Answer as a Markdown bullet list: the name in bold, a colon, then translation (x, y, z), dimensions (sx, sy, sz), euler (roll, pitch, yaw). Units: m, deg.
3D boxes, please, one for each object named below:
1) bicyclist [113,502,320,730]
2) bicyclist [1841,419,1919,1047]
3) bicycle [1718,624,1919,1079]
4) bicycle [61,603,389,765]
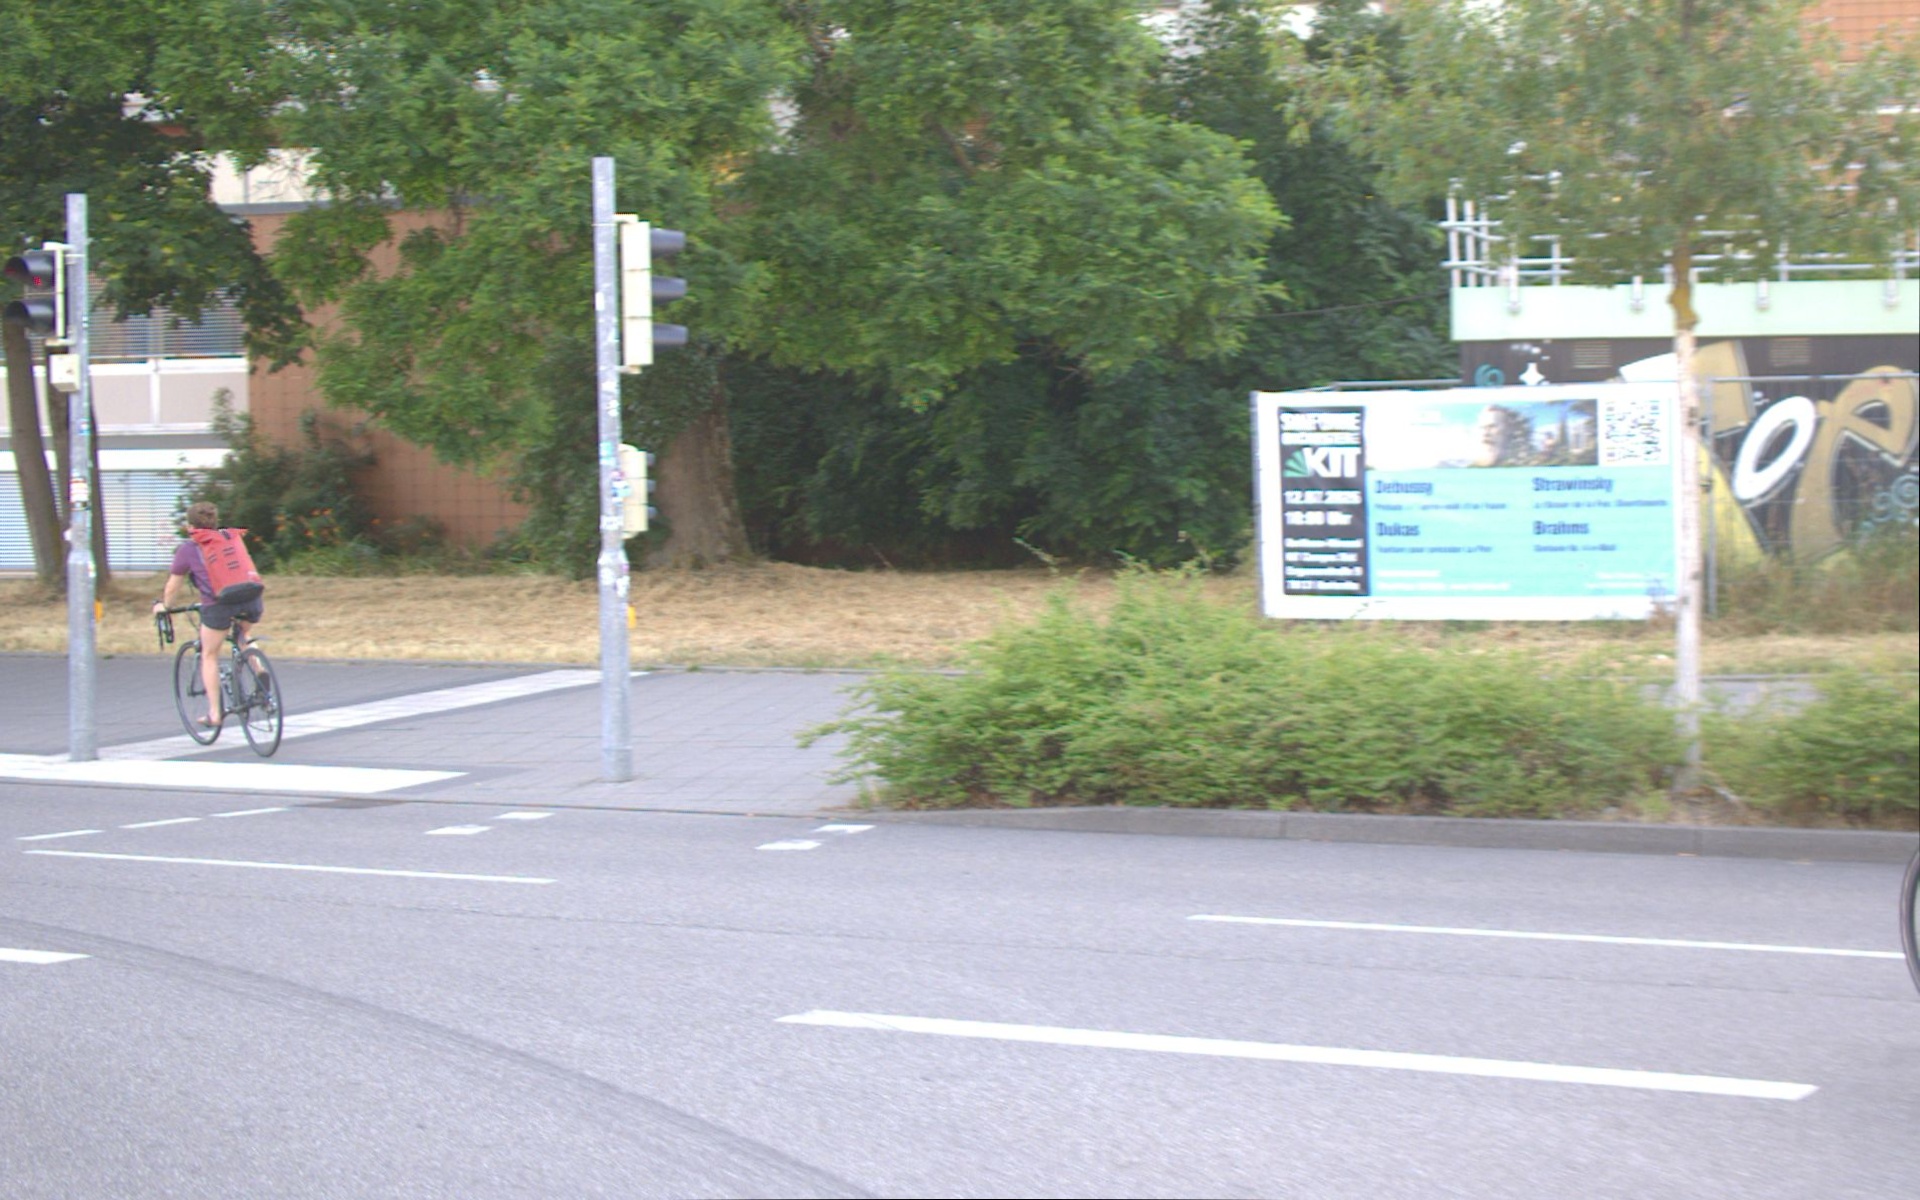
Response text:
- **bicyclist**: translation (-4.629, 0.092, 21.388), dimensions (1.074, 1.379, 0.720), euler (0, 1, 39)
- **bicyclist**: translation (2.996, 0.355, 9.090), dimensions (0.778, 1.671, 1.093), euler (-2, 3, -24)
- **bicycle**: translation (3.014, 0.704, 9.076), dimensions (0.778, 1.152, 2.292), euler (-2, 3, -24)
- **bicycle**: translation (-4.589, 0.504, 21.373), dimensions (2.247, 0.949, 0.720), euler (0, 1, 39)
